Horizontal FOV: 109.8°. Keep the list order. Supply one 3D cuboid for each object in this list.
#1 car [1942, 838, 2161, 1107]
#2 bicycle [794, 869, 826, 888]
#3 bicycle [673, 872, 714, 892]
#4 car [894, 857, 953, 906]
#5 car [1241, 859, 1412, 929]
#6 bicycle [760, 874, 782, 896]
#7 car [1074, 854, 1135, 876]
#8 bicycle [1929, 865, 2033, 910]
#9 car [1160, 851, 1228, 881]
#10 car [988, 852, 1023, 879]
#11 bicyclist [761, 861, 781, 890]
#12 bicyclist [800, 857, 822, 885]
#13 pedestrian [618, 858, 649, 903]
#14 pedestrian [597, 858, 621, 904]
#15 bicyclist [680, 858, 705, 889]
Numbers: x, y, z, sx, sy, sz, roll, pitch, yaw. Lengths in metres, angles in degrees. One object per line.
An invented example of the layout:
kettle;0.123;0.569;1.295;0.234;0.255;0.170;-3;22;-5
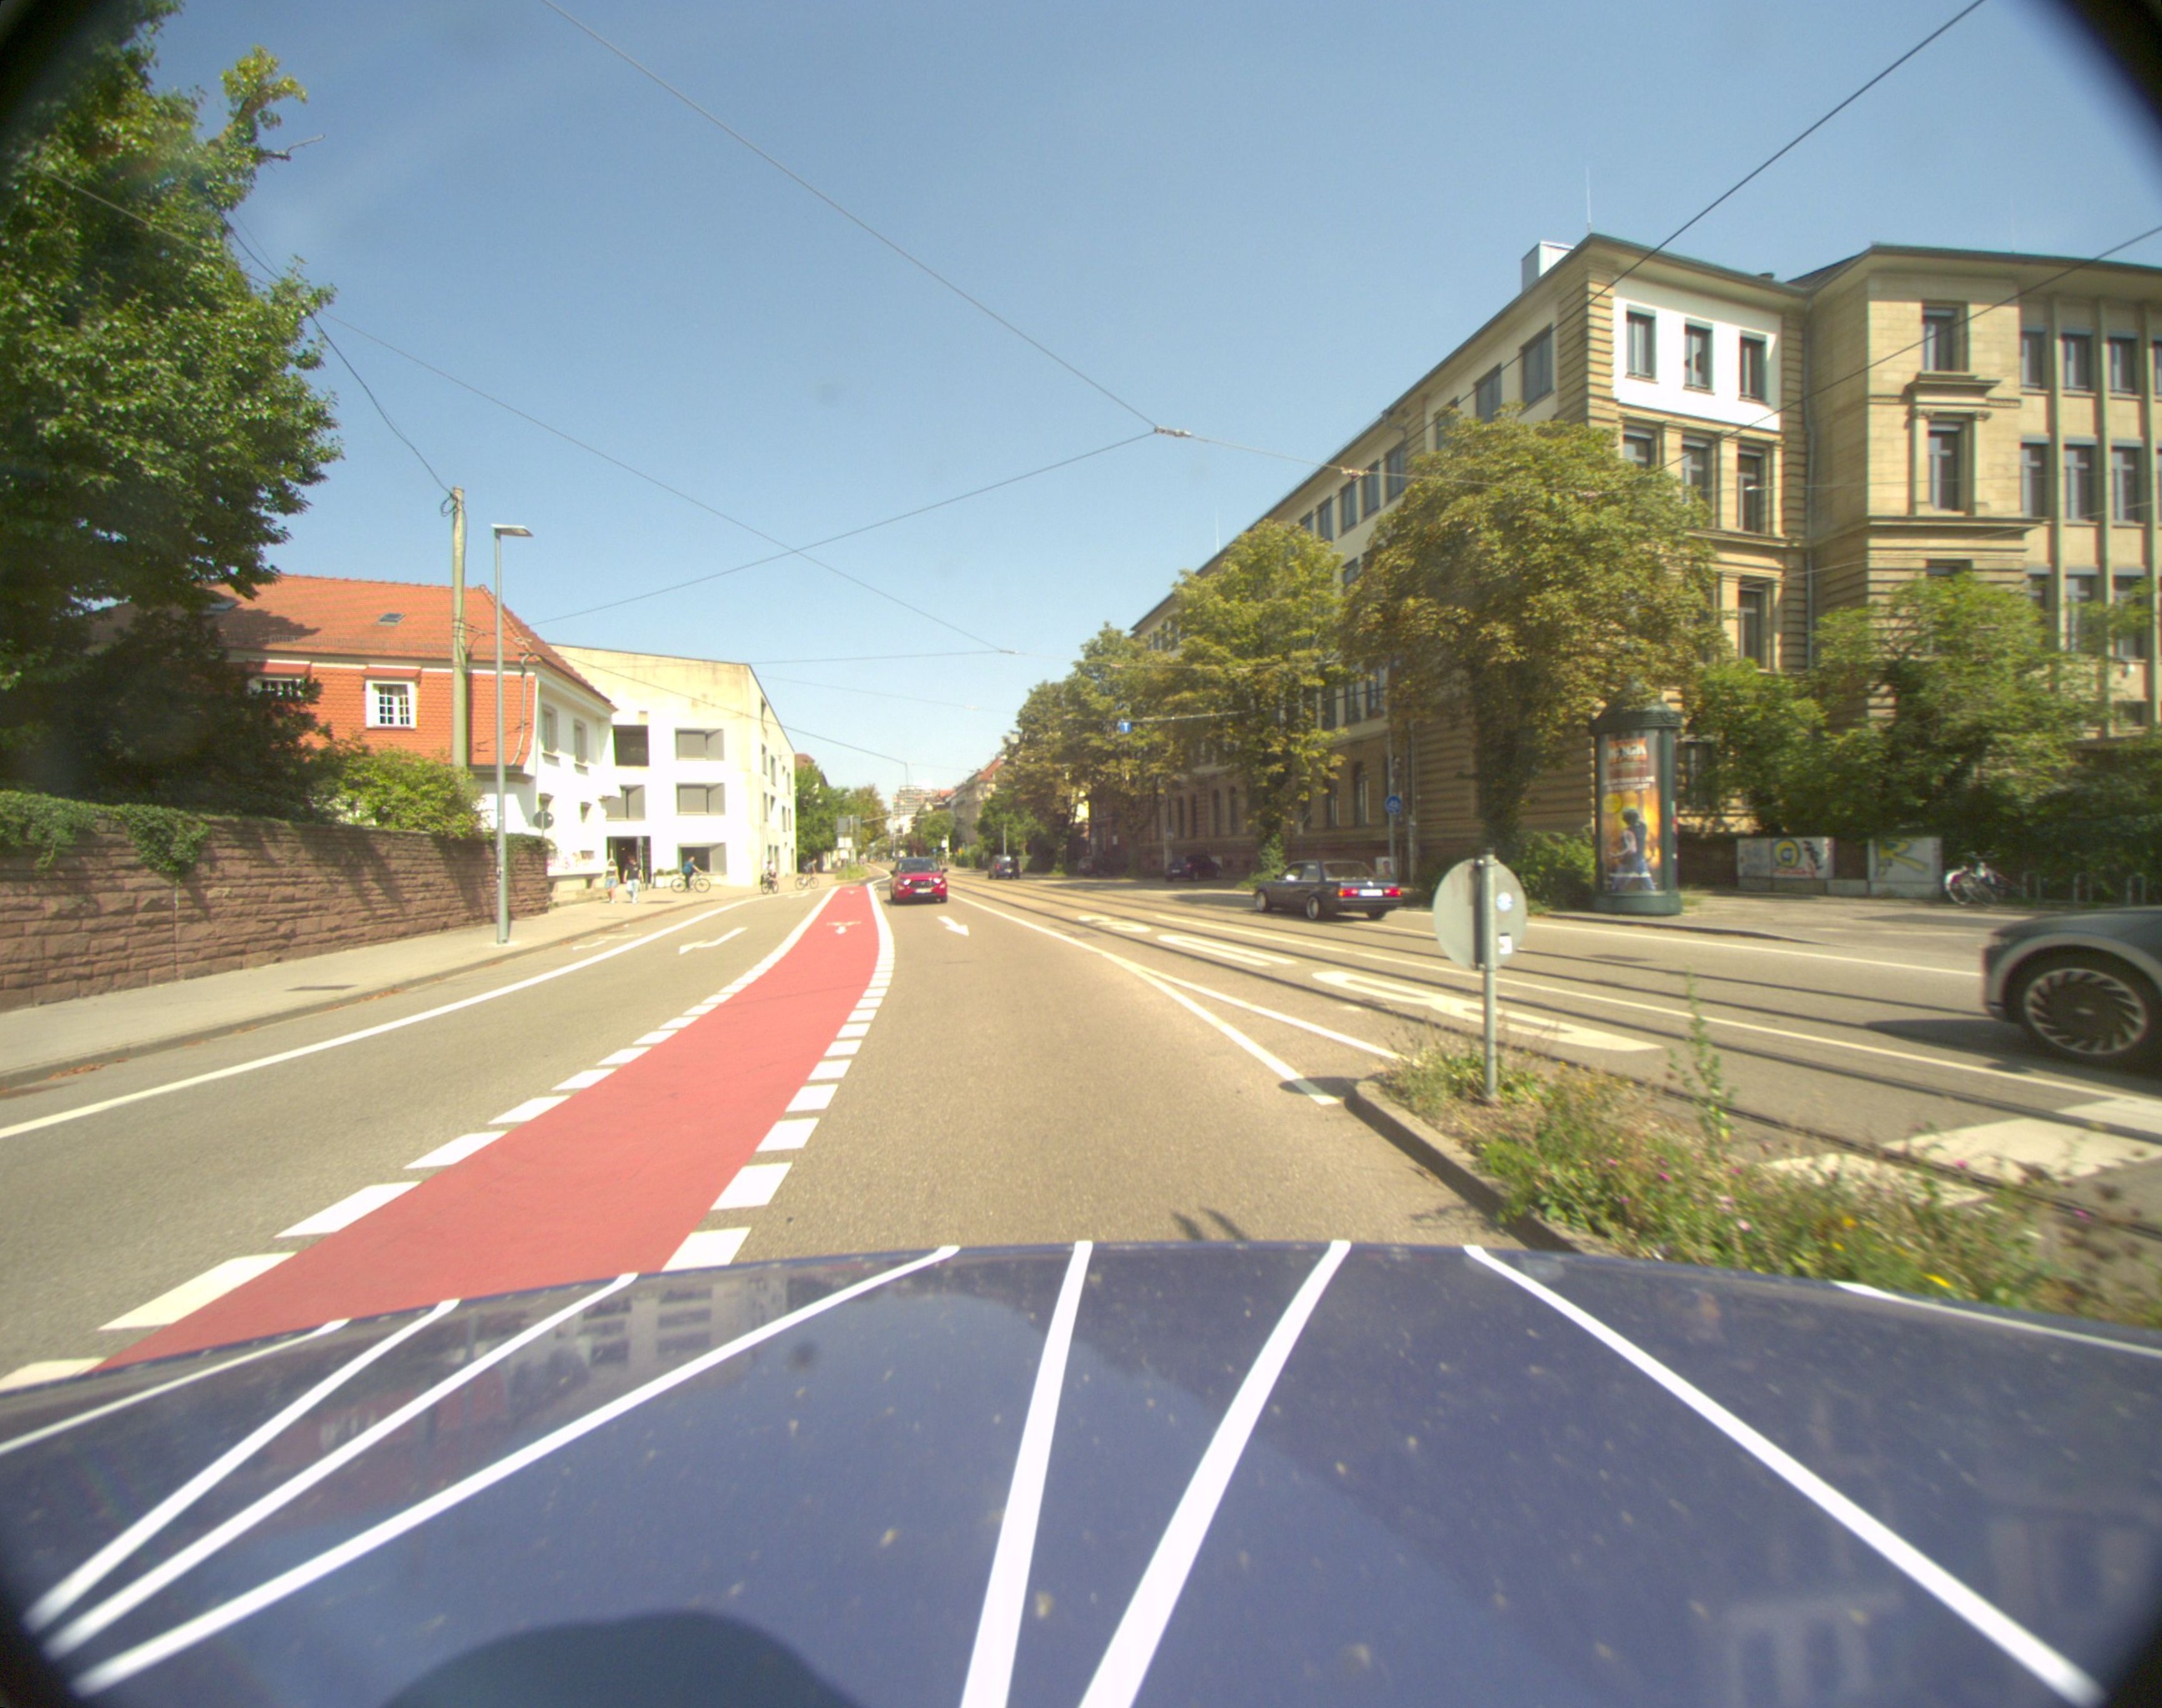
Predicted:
car;7.330;0.694;3.339;1.776;1.601;4.673;-1;0;-1
bicycle;-15.867;1.432;44.592;0.614;0.994;1.714;-1;1;32
bicycle;-19.424;1.402;38.123;0.614;0.994;1.715;0;-1;44
car;-5.654;0.909;26.959;1.818;1.542;4.016;-2;0;-15
car;5.551;0.839;17.898;1.694;1.370;4.612;-1;0;-13
bicycle;-15.532;1.543;38.117;0.742;1.042;2.230;-2;0;-16
car;1.741;0.767;55.790;4.438;1.453;1.816;-2;0;-42
bicycle;19.638;0.716;16.577;2.182;0.889;0.748;-1;0;-20
car;6.215;0.629;41.452;1.816;1.487;4.172;-1;0;37
car;-5.085;0.737;50.770;1.697;1.645;3.576;-2;1;-16
bicyclist;-15.553;1.074;38.144;0.748;1.403;0.960;-2;0;-15
bicyclist;-15.845;1.006;44.610;0.626;1.589;0.994;-1;1;32
pedestrian;-16.754;0.980;28.457;0.730;1.656;0.878;-2;0;-14
pedestrian;-17.586;1.000;28.308;0.620;1.656;0.486;-2;0;-17
bicyclist;-19.457;0.993;38.079;0.626;1.530;0.906;1;0;44
